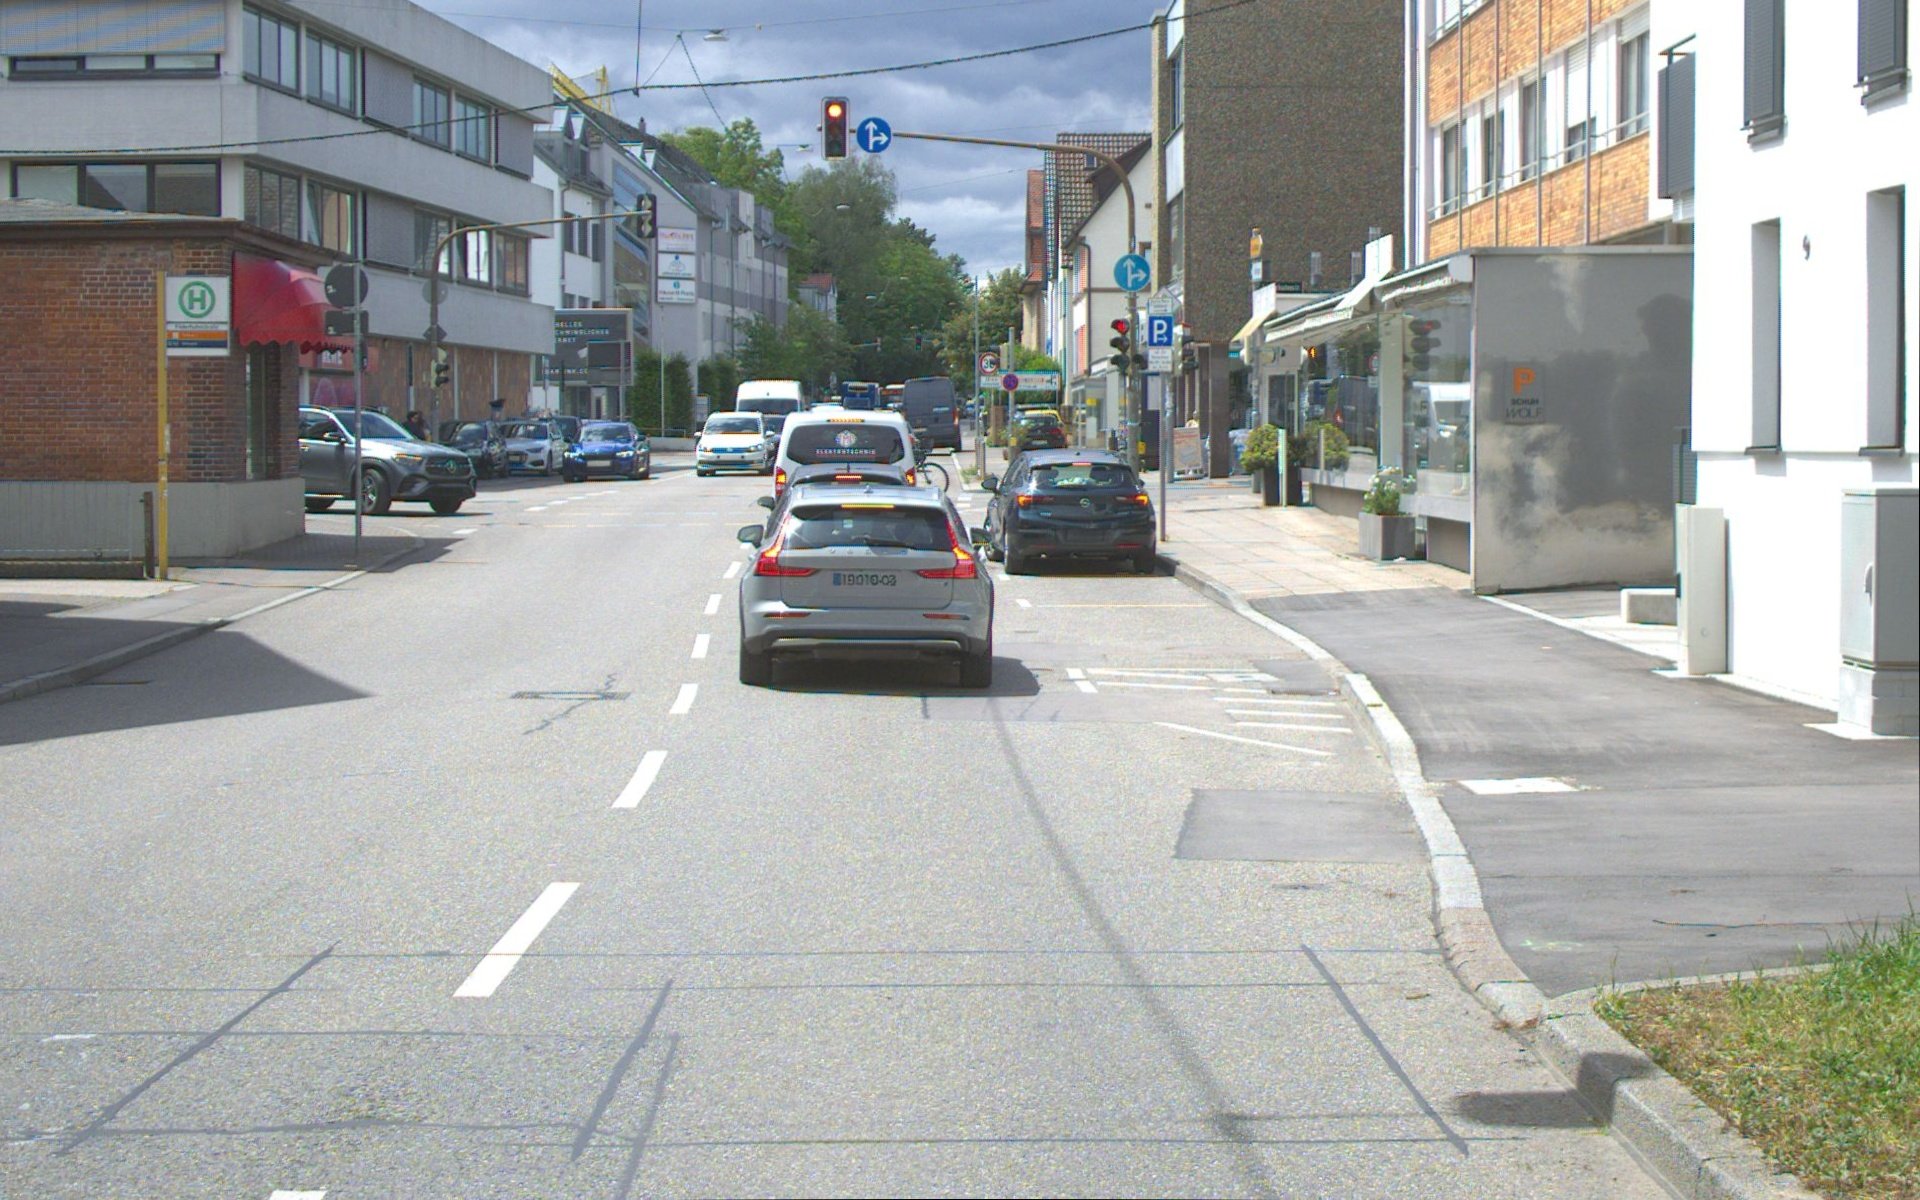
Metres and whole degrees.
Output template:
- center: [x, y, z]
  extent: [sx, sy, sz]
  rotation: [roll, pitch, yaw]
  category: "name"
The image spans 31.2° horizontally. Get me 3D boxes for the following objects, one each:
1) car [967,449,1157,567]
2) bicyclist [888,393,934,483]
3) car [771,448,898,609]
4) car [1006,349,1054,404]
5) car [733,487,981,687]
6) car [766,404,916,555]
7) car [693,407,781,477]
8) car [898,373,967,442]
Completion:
- center: [1.194, -1.120, 41.990]
  extent: [1.752, 1.366, 4.001]
  rotation: [0, 1, -7]
  category: "car"
- center: [-0.886, -2.935, 62.259]
  extent: [0.772, 1.601, 0.581]
  rotation: [0, 1, -6]
  category: "bicyclist"
- center: [-1.290, -0.785, 36.051]
  extent: [1.273, 1.522, 3.051]
  rotation: [0, 4, -1]
  category: "car"
- center: [2.821, -9.073, 139.624]
  extent: [1.802, 2.007, 4.000]
  rotation: [0, 1, -1]
  category: "car"
- center: [-0.751, -0.138, 26.294]
  extent: [1.744, 1.412, 4.000]
  rotation: [0, 1, -1]
  category: "car"
- center: [-1.505, -1.549, 44.790]
  extent: [1.836, 1.855, 3.851]
  rotation: [1, 1, -1]
  category: "car"
- center: [-5.732, -4.068, 88.738]
  extent: [1.873, 1.634, 4.000]
  rotation: [2, 1, 2]
  category: "car"
- center: [-1.021, -7.025, 125.995]
  extent: [2.436, 2.310, 5.327]
  rotation: [2, 2, -1]
  category: "car"
